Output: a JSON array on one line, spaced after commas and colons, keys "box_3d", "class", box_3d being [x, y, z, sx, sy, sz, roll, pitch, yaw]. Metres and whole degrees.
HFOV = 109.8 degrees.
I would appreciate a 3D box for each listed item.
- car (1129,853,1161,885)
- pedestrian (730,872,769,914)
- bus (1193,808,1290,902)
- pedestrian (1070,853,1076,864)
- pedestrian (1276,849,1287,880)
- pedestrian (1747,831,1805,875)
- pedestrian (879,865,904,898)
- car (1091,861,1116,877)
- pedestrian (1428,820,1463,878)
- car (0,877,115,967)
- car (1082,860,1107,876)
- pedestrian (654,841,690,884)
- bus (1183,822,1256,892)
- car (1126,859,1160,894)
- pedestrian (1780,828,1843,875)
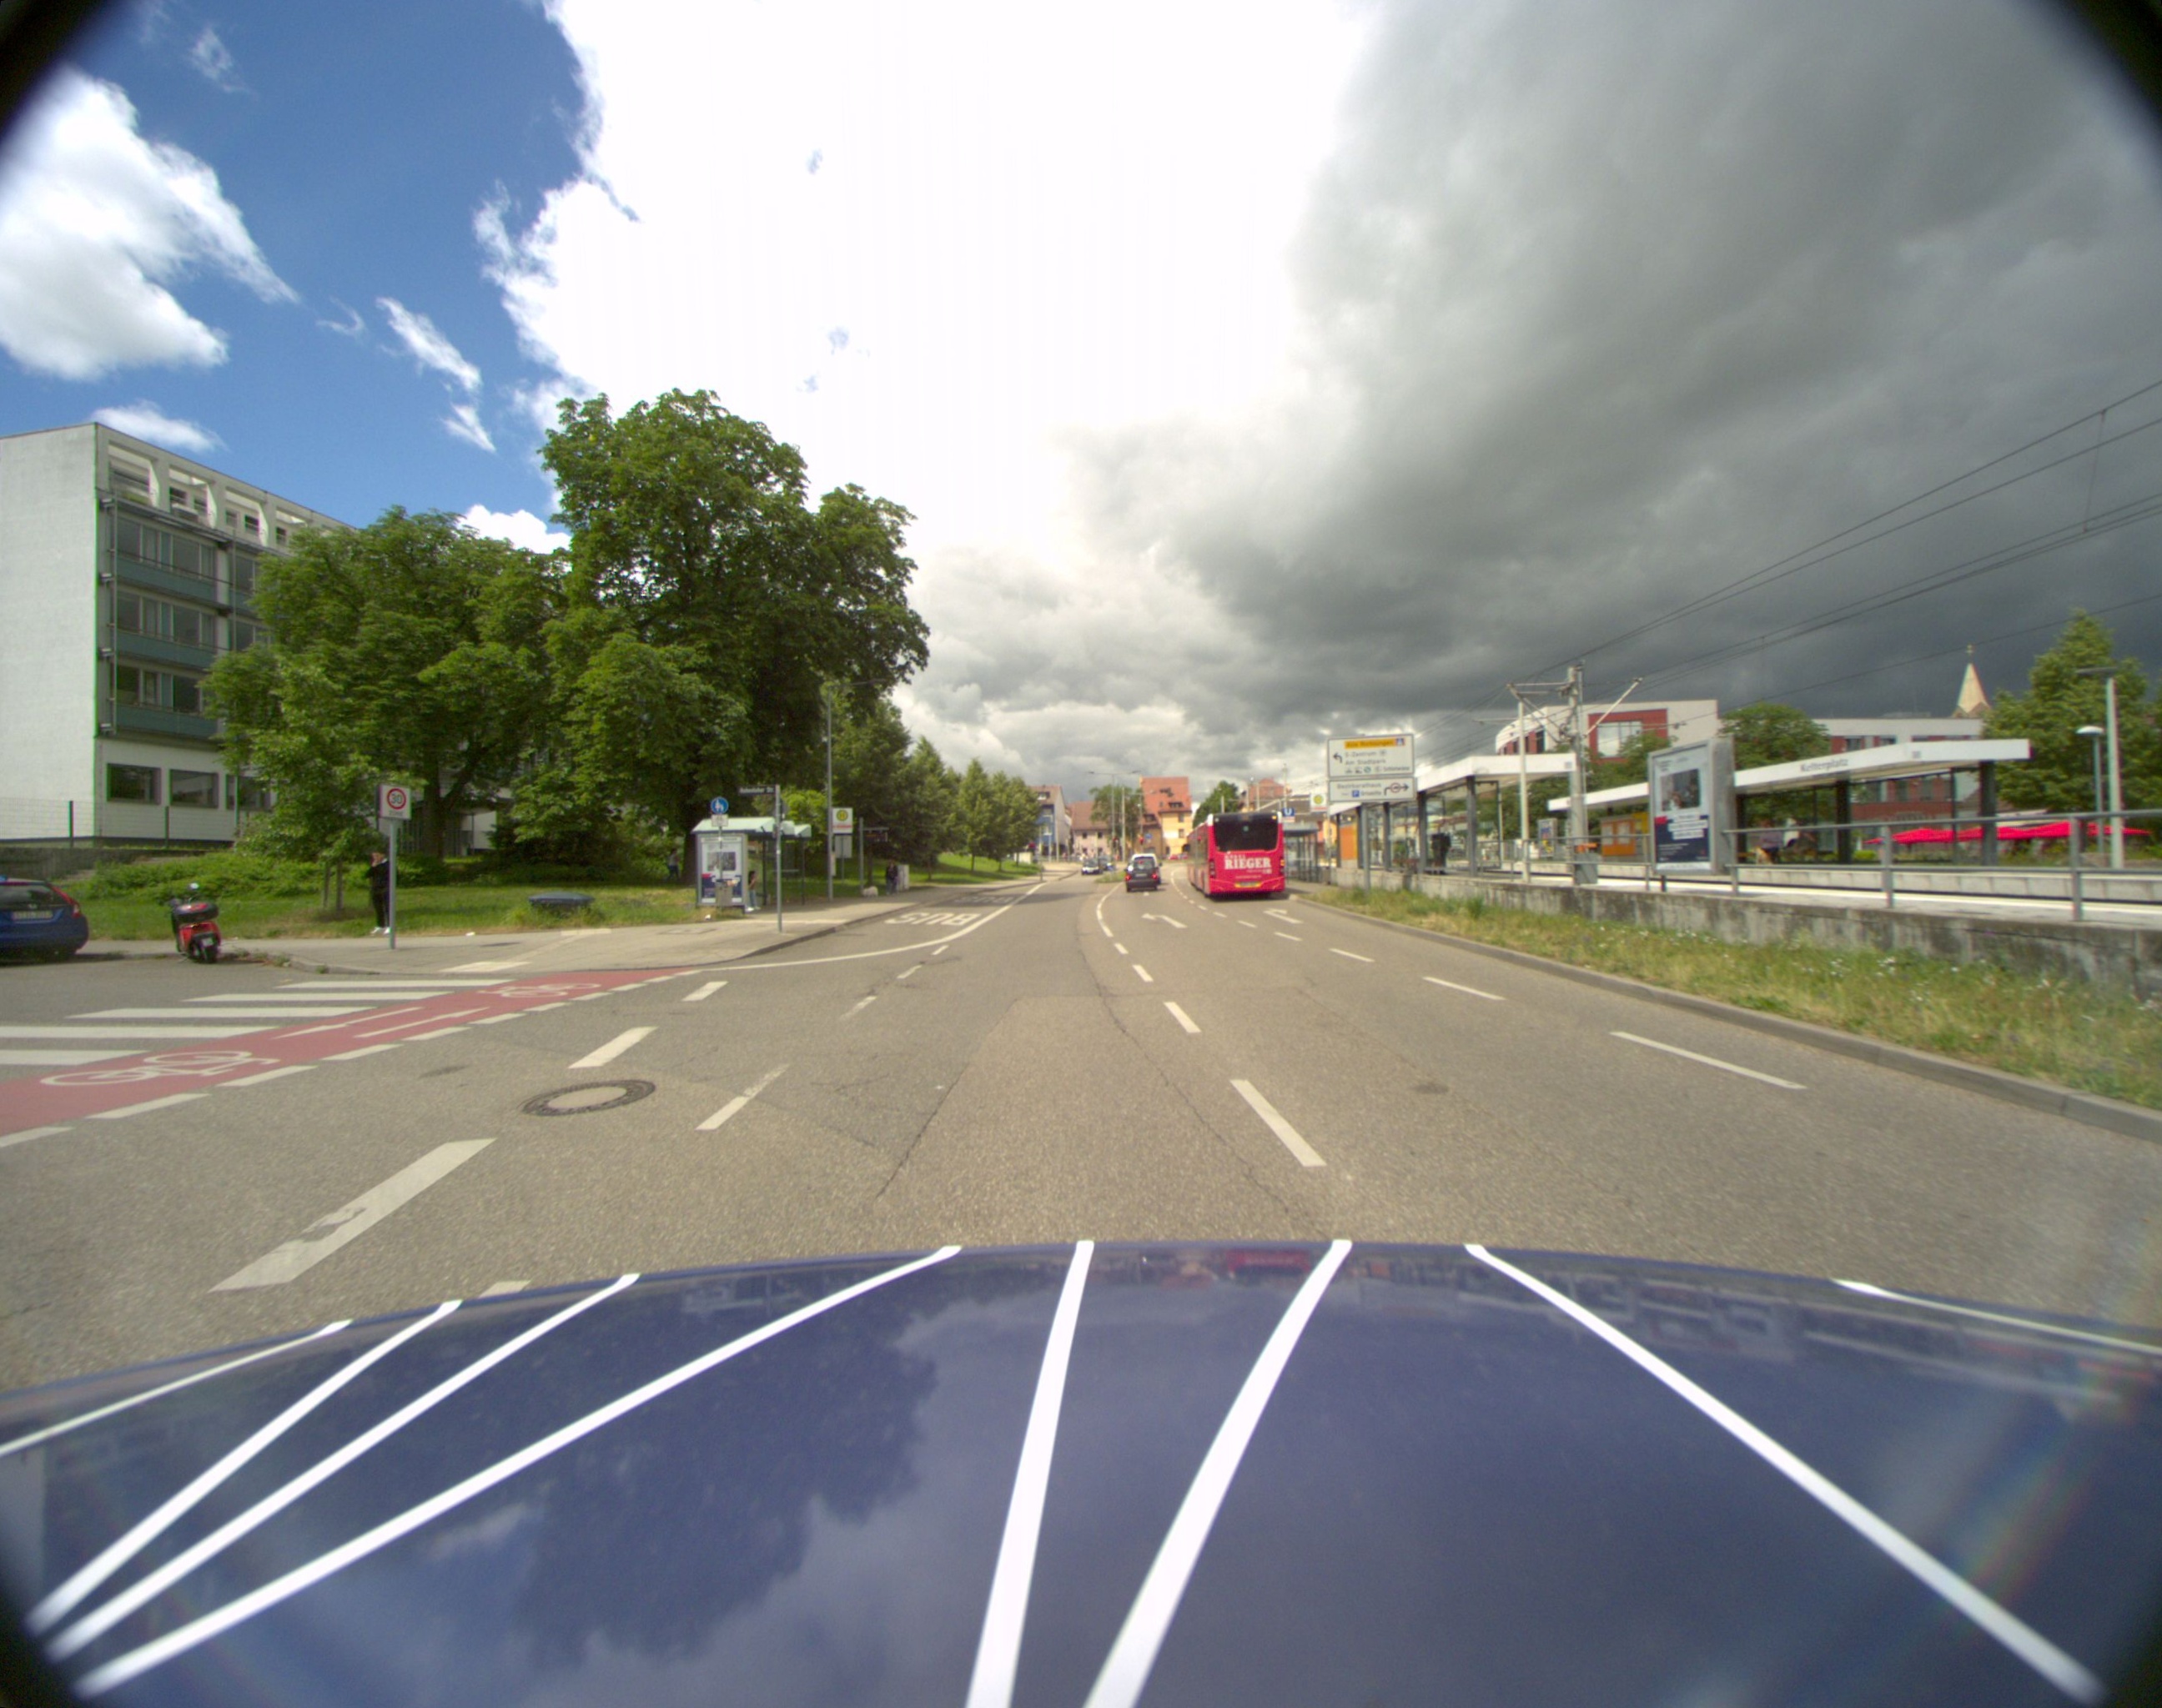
[{"box_3d": [3.728, 0.938, 44.865, 1.765, 1.651, 4.510, 0, -4, 4], "class": "car"}, {"box_3d": [-10.125, 1.182, 23.237, 0.829, 1.251, 0.686, -1, 0, 8], "class": "pedestrian"}, {"box_3d": [5.981, 0.106, 29.709, 2.731, 3.051, 8.969, -1, -1, 6], "class": "bus"}, {"box_3d": [-1.306, 0.745, 117.349, 0.753, 1.740, 0.586, -1, 0, -22], "class": "pedestrian"}, {"box_3d": [9.002, 0.474, 34.115, 0.422, 1.394, 0.409, -2, -1, 18], "class": "pedestrian"}, {"box_3d": [20.544, -0.023, 22.483, 0.758, 1.284, 1.113, -1, 0, 7], "class": "pedestrian"}, {"box_3d": [-8.396, 1.203, 33.693, 0.821, 1.416, 0.830, -1, 1, 6], "class": "pedestrian"}, {"box_3d": [2.358, 1.594, 79.057, 1.997, 1.639, 4.424, -1, -2, 9], "class": "car"}, {"box_3d": [10.749, -0.136, 22.431, 0.688, 1.646, 0.701, -1, -1, 5], "class": "pedestrian"}, {"box_3d": [-19.628, 1.128, 13.041, 3.802, 1.448, 1.897, 0, -1, 3], "class": "car"}, {"box_3d": [1.254, 1.323, 71.054, 1.881, 1.420, 4.003, -1, -2, 7], "class": "car"}, {"box_3d": [-17.043, 0.358, 31.681, 0.987, 1.750, 0.859, 0, 1, 16], "class": "pedestrian"}, {"box_3d": [6.872, 0.093, 38.989, 2.732, 3.091, 9.706, -1, 1, 5], "class": "bus"}, {"box_3d": [3.103, 1.066, 37.574, 1.533, 1.542, 3.734, -3, 0, 6], "class": "car"}, {"box_3d": [20.438, -0.059, 21.275, 0.758, 1.284, 1.113, -1, 0, 7], "class": "pedestrian"}]
